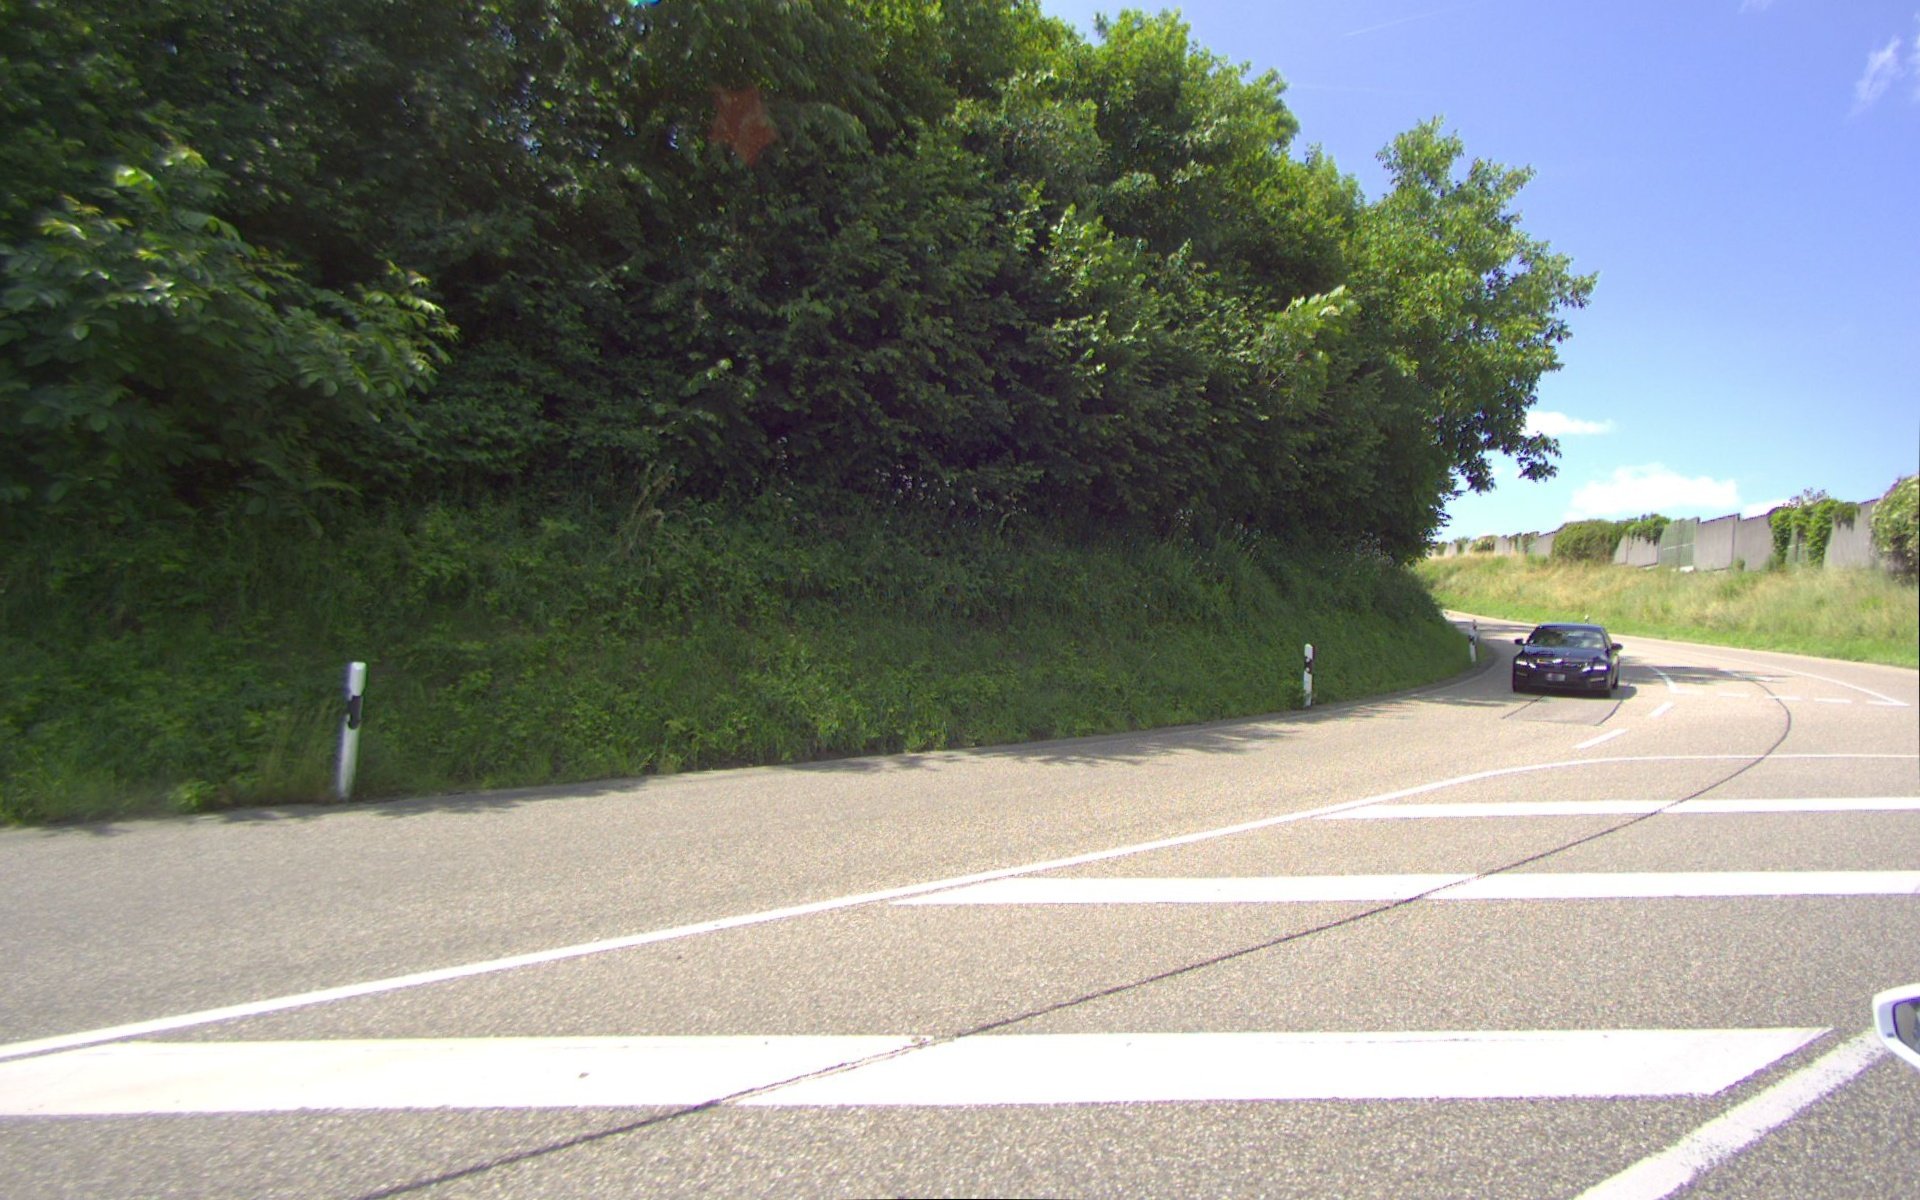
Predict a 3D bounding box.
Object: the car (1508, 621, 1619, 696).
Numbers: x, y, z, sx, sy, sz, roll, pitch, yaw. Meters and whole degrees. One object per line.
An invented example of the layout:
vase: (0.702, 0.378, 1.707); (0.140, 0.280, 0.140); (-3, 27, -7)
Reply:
car: (13.036, 1.190, 21.580); (1.663, 1.438, 4.329); (0, -1, 36)
